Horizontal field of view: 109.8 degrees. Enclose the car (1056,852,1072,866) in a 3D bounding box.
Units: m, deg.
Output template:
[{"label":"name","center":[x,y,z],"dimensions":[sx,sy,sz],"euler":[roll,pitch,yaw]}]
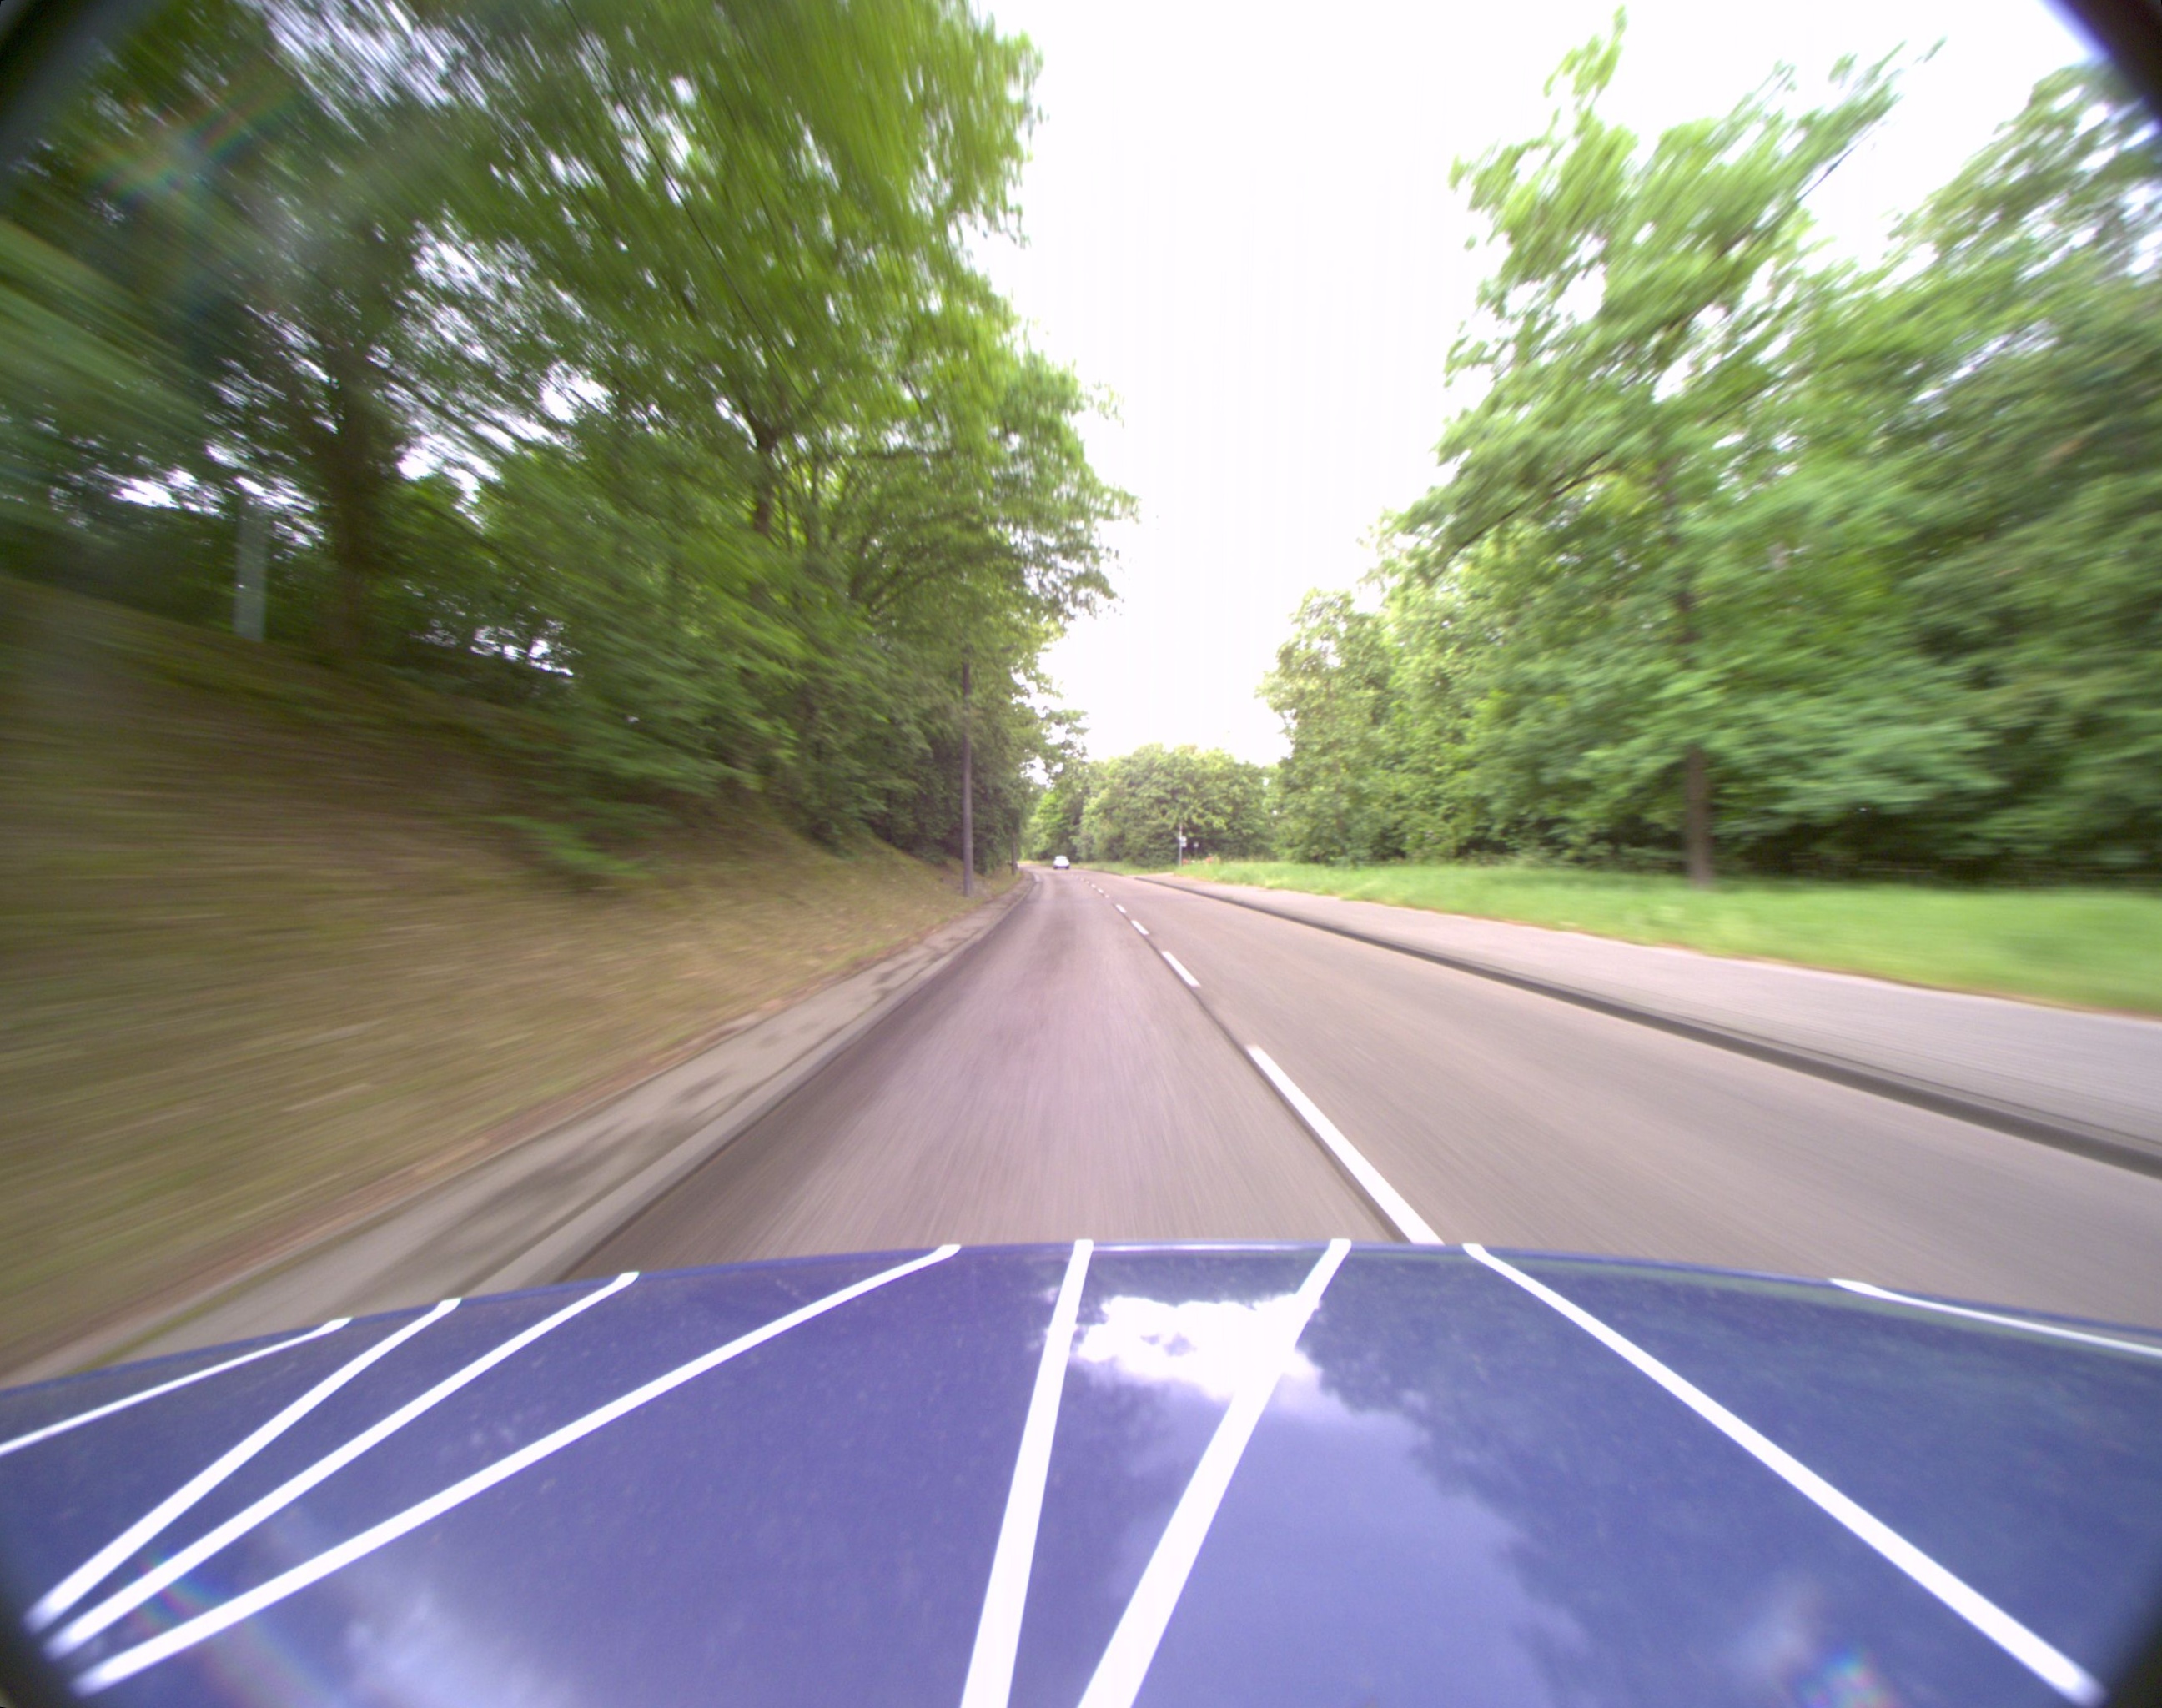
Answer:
[{"label":"car","center":[-2.210,0.666,100.249],"dimensions":[1.999,1.743,4.780],"euler":[-2,1,-2]}]
